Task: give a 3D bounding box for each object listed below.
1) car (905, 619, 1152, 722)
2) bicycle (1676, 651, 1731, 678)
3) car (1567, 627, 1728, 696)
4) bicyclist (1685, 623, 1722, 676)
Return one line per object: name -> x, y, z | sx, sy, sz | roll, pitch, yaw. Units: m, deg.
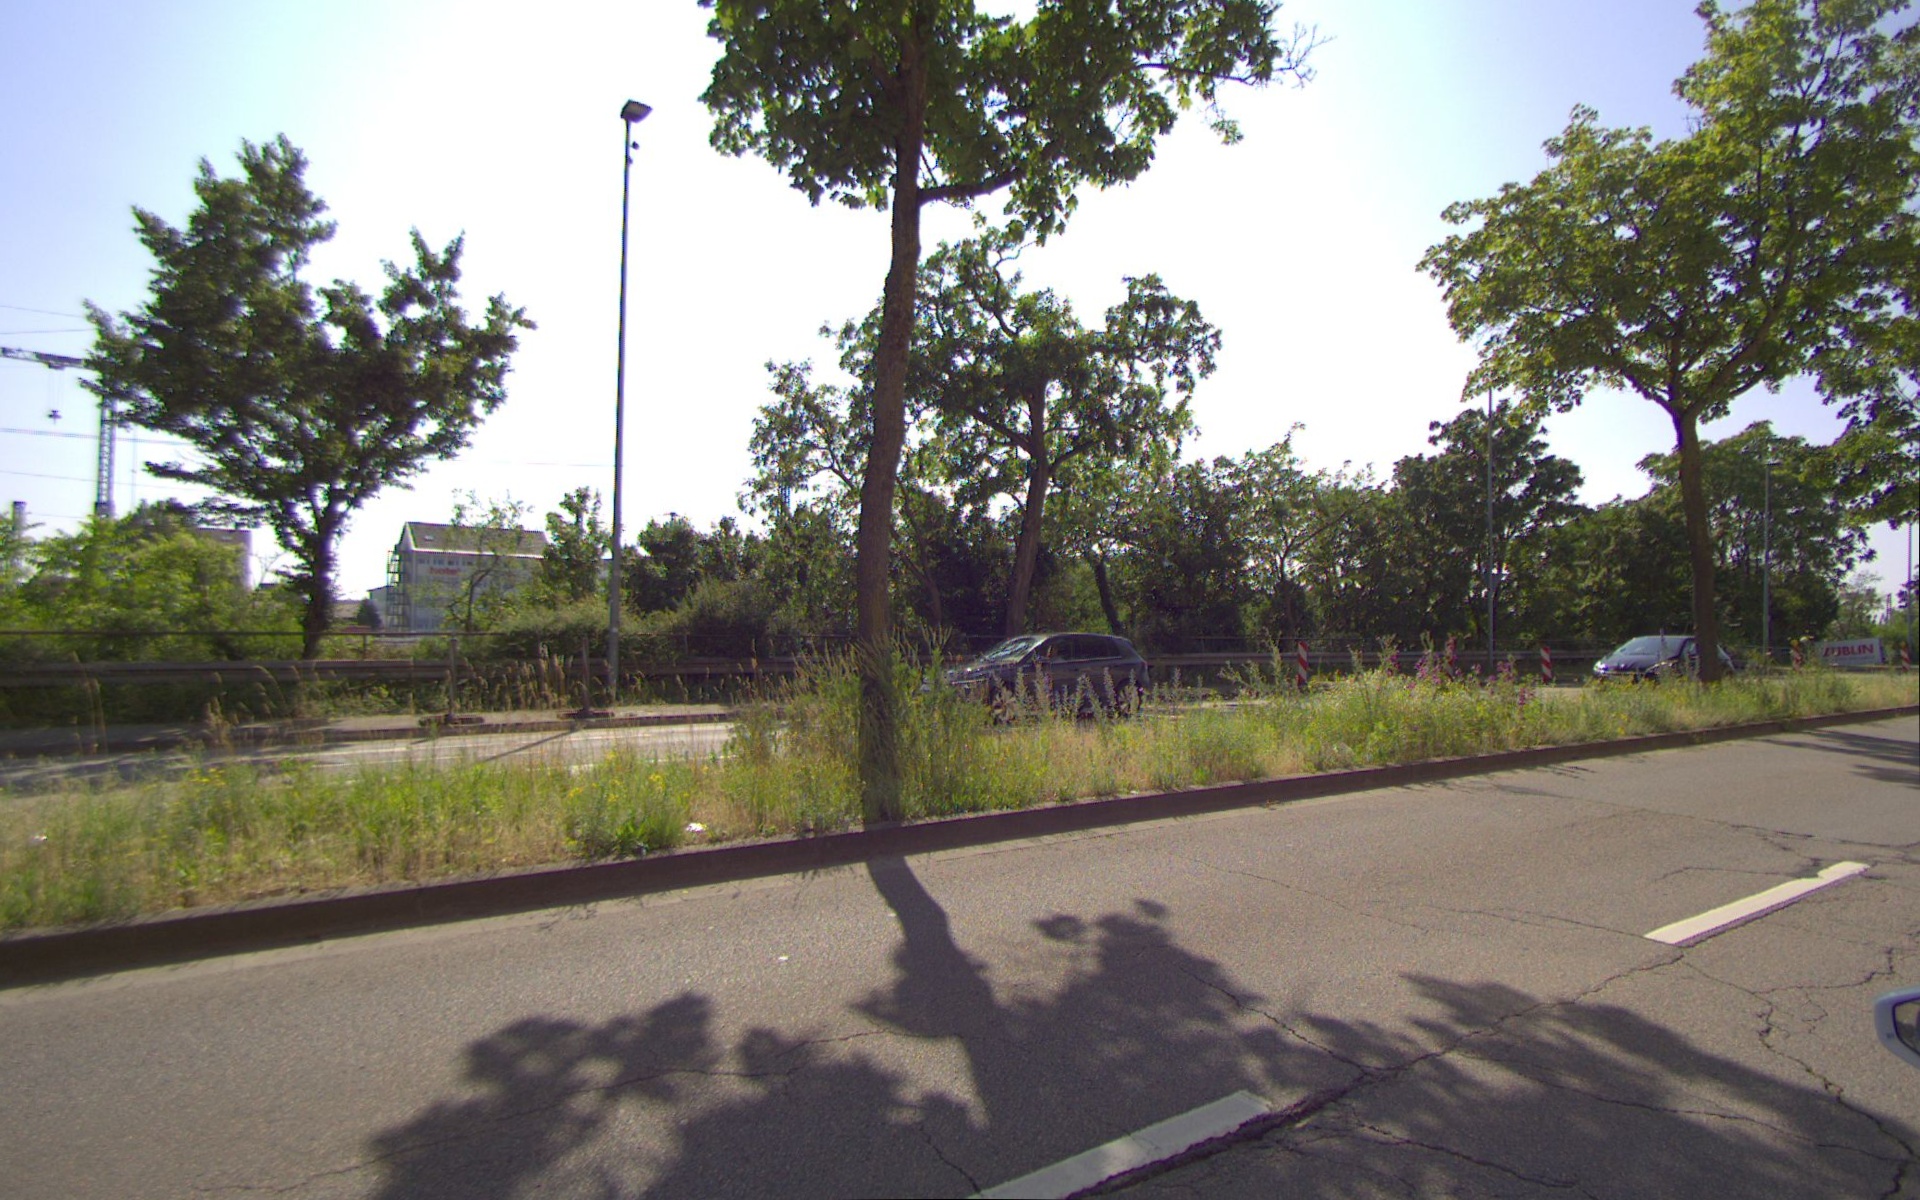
car -> 1.213, 1.149, 17.163 | 3.958, 1.550, 1.787 | 2, -1, -33
bicycle -> 26.574, 2.279, 35.886 | 2.313, 0.917, 0.690 | 2, -1, -28
car -> 16.404, 1.434, 23.926 | 4.040, 1.494, 1.753 | 2, -1, -33
bicyclist -> 26.565, 1.750, 35.879 | 1.004, 1.856, 0.694 | 1, -1, -28
